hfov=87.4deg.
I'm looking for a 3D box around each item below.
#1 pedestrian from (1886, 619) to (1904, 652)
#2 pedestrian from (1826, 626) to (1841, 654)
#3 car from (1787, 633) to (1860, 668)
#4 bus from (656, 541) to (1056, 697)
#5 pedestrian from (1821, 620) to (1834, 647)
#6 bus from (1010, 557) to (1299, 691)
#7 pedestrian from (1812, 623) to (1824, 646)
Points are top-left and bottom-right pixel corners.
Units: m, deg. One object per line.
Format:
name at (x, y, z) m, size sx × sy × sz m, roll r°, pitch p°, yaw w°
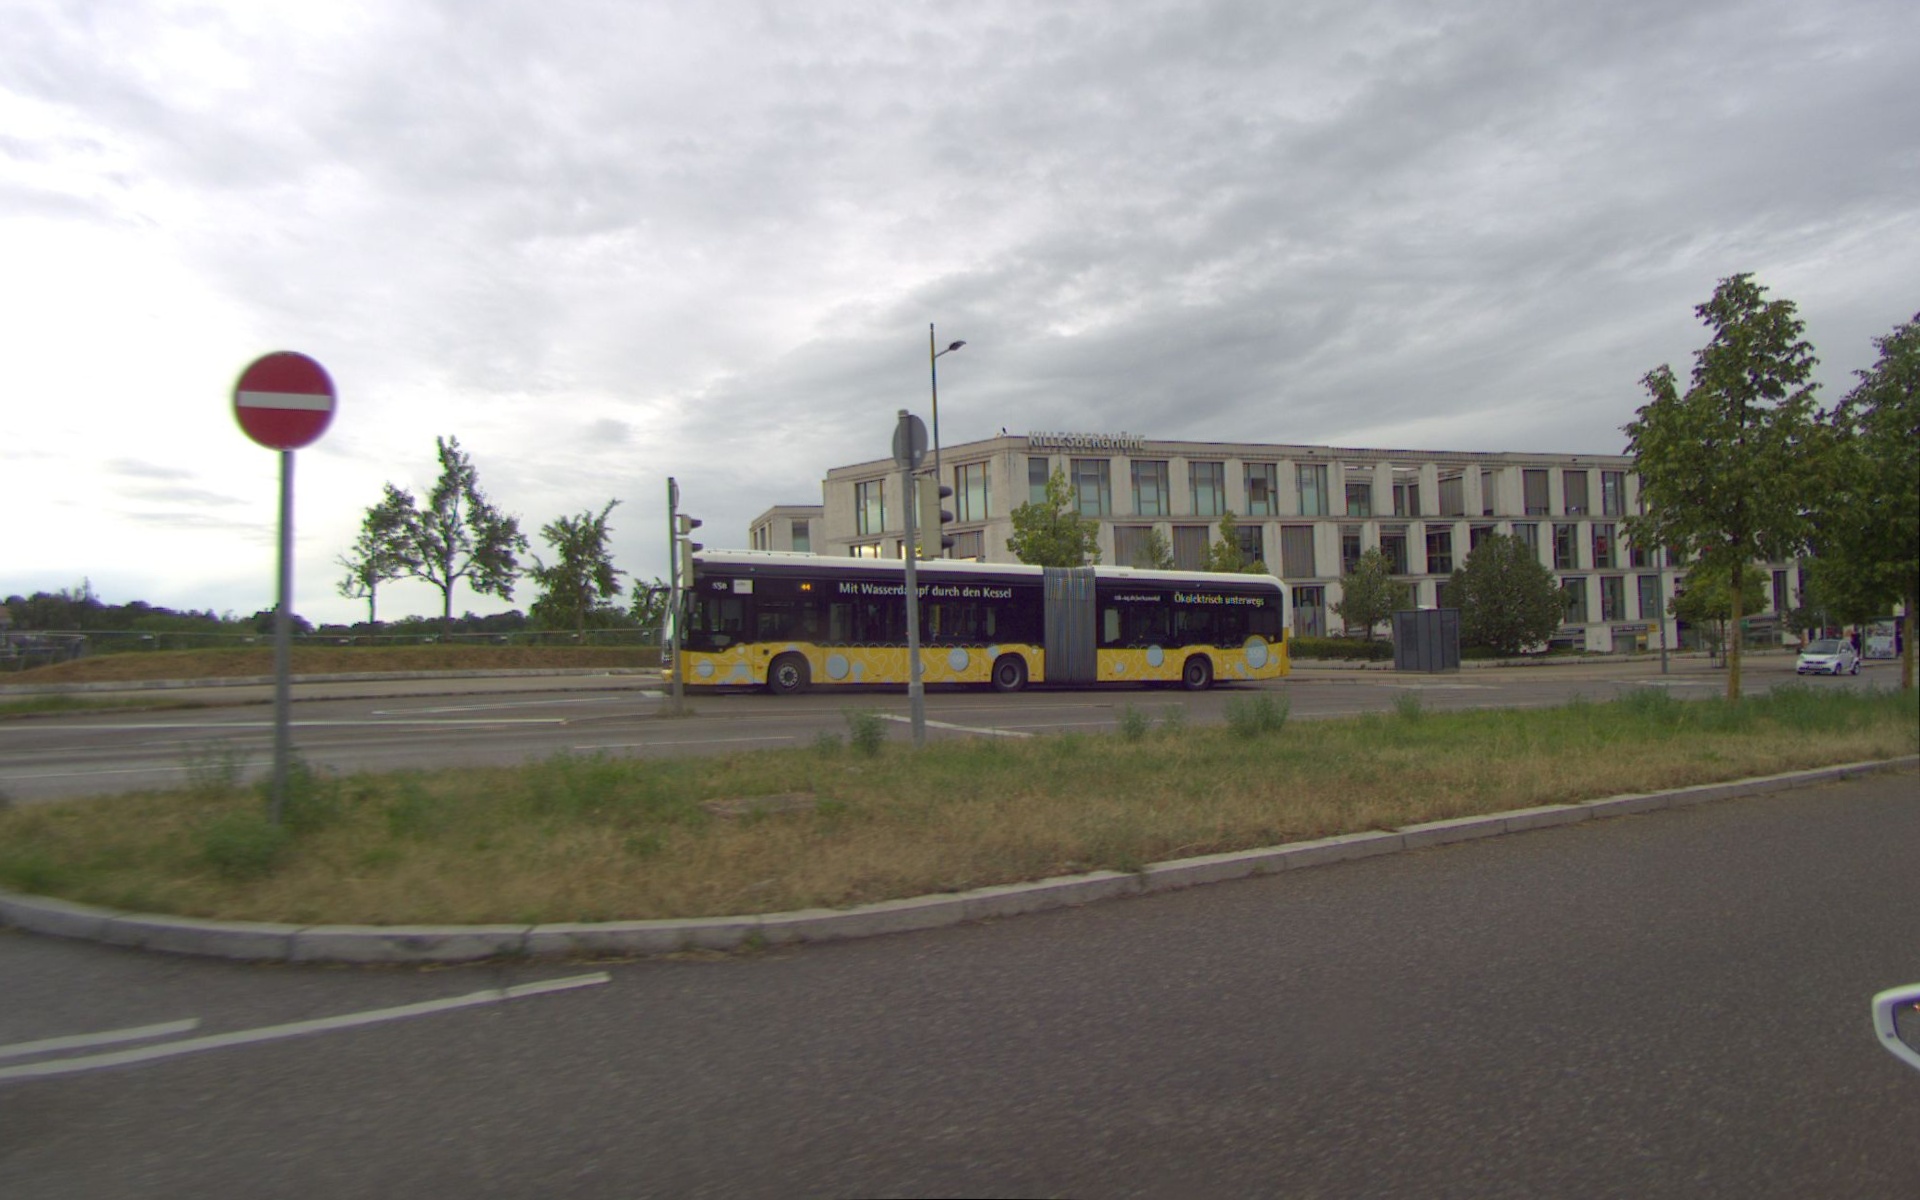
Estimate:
pedestrian at (53.442, 2.002, 57.397) m, size 0.747 × 1.866 × 0.505 m, roll 0°, pitch -2°, yaw -31°
pedestrian at (56.245, 2.577, 64.662) m, size 0.559 × 1.748 × 0.523 m, roll 0°, pitch -2°, yaw -28°
car at (39.134, 2.251, 45.524) m, size 2.937 × 1.528 × 1.606 m, roll 1°, pitch -2°, yaw -30°
bus at (-2.545, 0.562, 25.815) m, size 9.832 × 3.518 × 2.815 m, roll 1°, pitch -2°, yaw -23°
pedestrian at (57.174, 2.192, 66.202) m, size 0.613 × 1.748 × 0.424 m, roll 0°, pitch -2°, yaw -30°
bus at (5.734, 0.751, 29.357) m, size 8.114 × 3.518 × 2.815 m, roll 1°, pitch -2°, yaw -23°
pedestrian at (56.315, 2.245, 65.913) m, size 0.504 × 1.470 × 0.424 m, roll 0°, pitch -2°, yaw -30°
